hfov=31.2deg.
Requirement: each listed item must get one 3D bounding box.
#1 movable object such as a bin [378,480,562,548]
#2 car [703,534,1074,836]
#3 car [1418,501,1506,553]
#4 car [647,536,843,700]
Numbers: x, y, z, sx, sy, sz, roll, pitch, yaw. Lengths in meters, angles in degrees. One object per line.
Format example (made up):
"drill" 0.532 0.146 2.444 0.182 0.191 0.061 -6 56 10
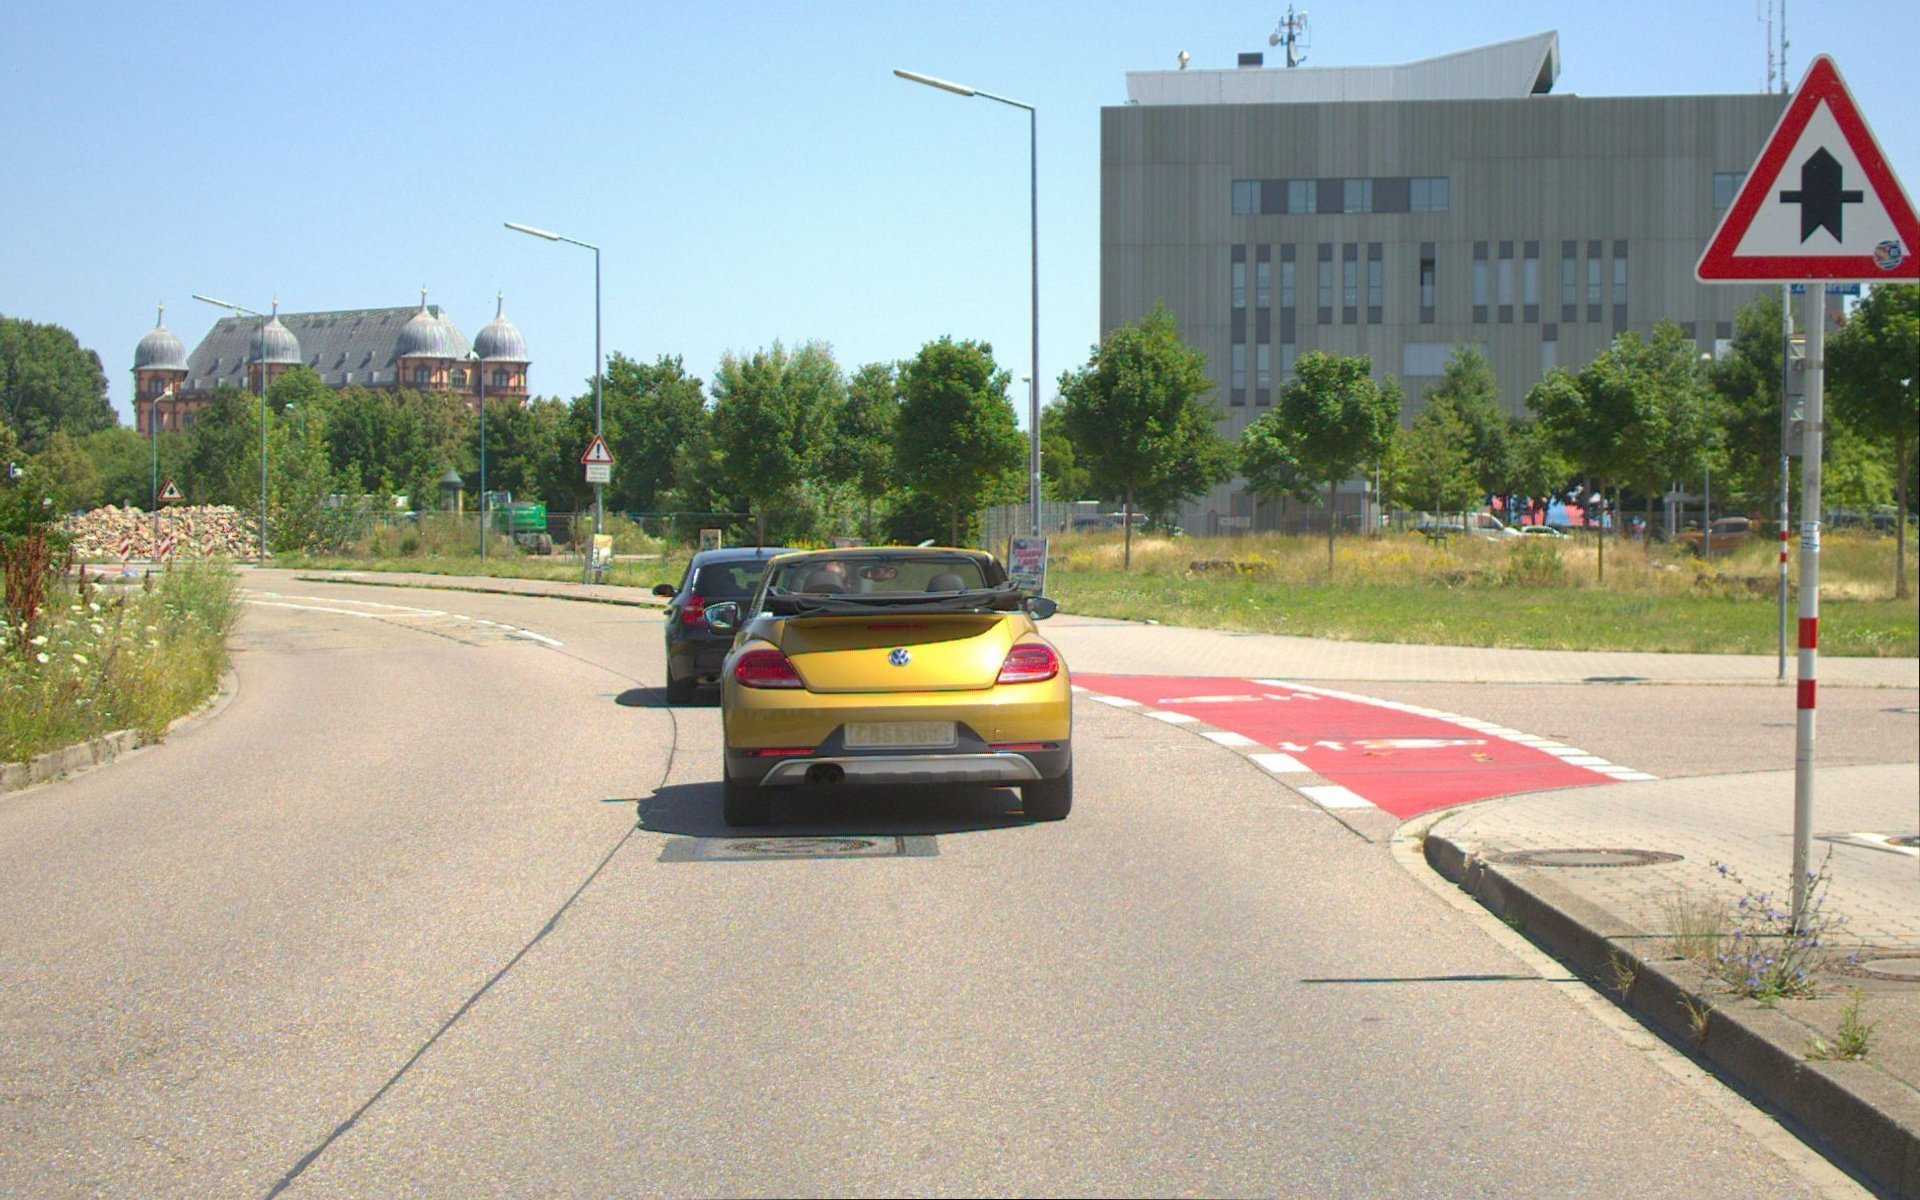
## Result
"movable object such as a bin" -24.061 -4.176 168.345 4.939 3.249 10.468 -1 1 -33
"car" -0.326 0.375 18.536 1.790 1.431 3.814 0 1 1
"car" 22.391 -3.267 153.309 3.844 2.286 1.742 0 1 11
"car" -2.034 0.121 32.342 1.726 1.438 4.001 0 1 -4
